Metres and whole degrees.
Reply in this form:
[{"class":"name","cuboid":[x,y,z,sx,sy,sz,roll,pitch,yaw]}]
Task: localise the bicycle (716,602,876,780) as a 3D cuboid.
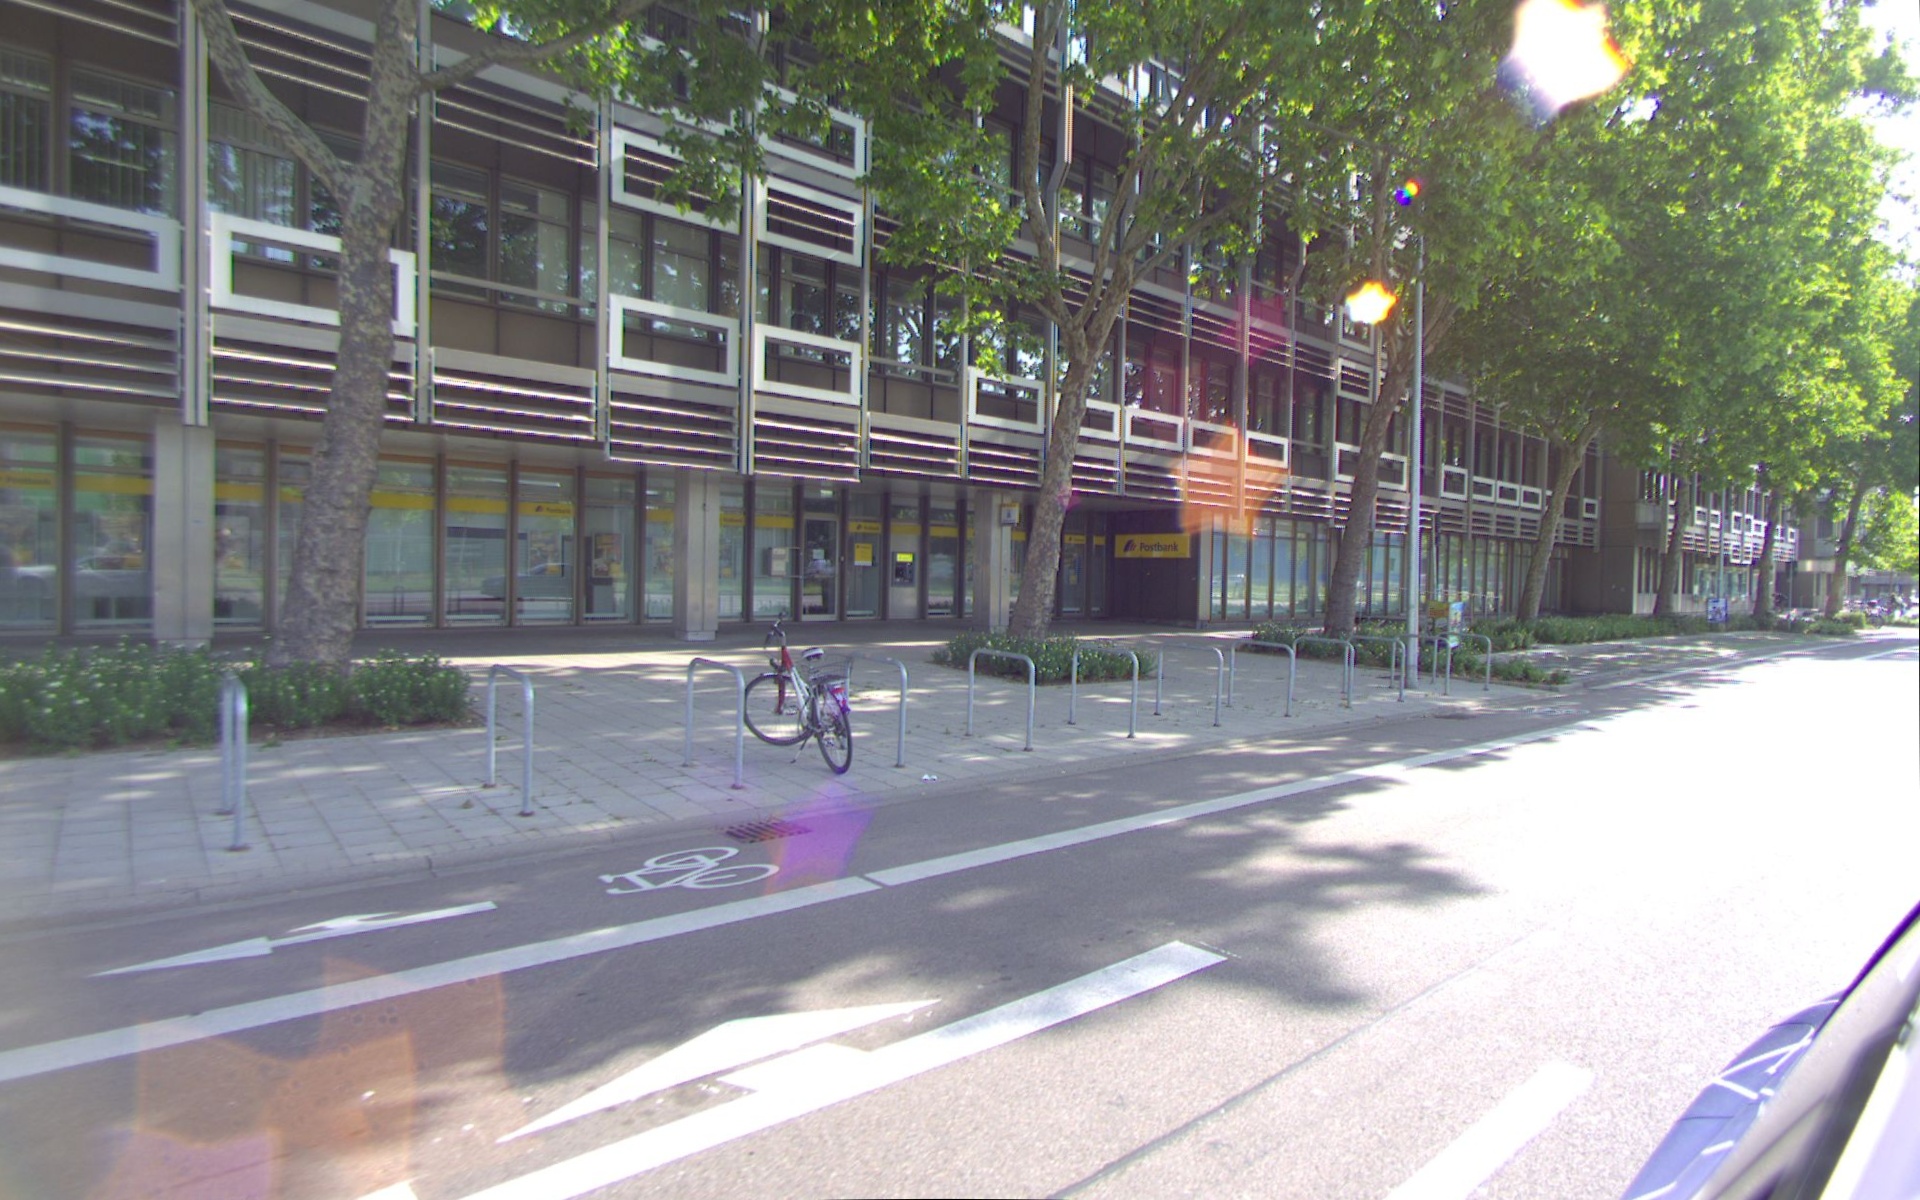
[{"class":"bicycle","cuboid":[-1.387,0.663,8.253,0.527,1.202,1.834,0,3,-35]}]
